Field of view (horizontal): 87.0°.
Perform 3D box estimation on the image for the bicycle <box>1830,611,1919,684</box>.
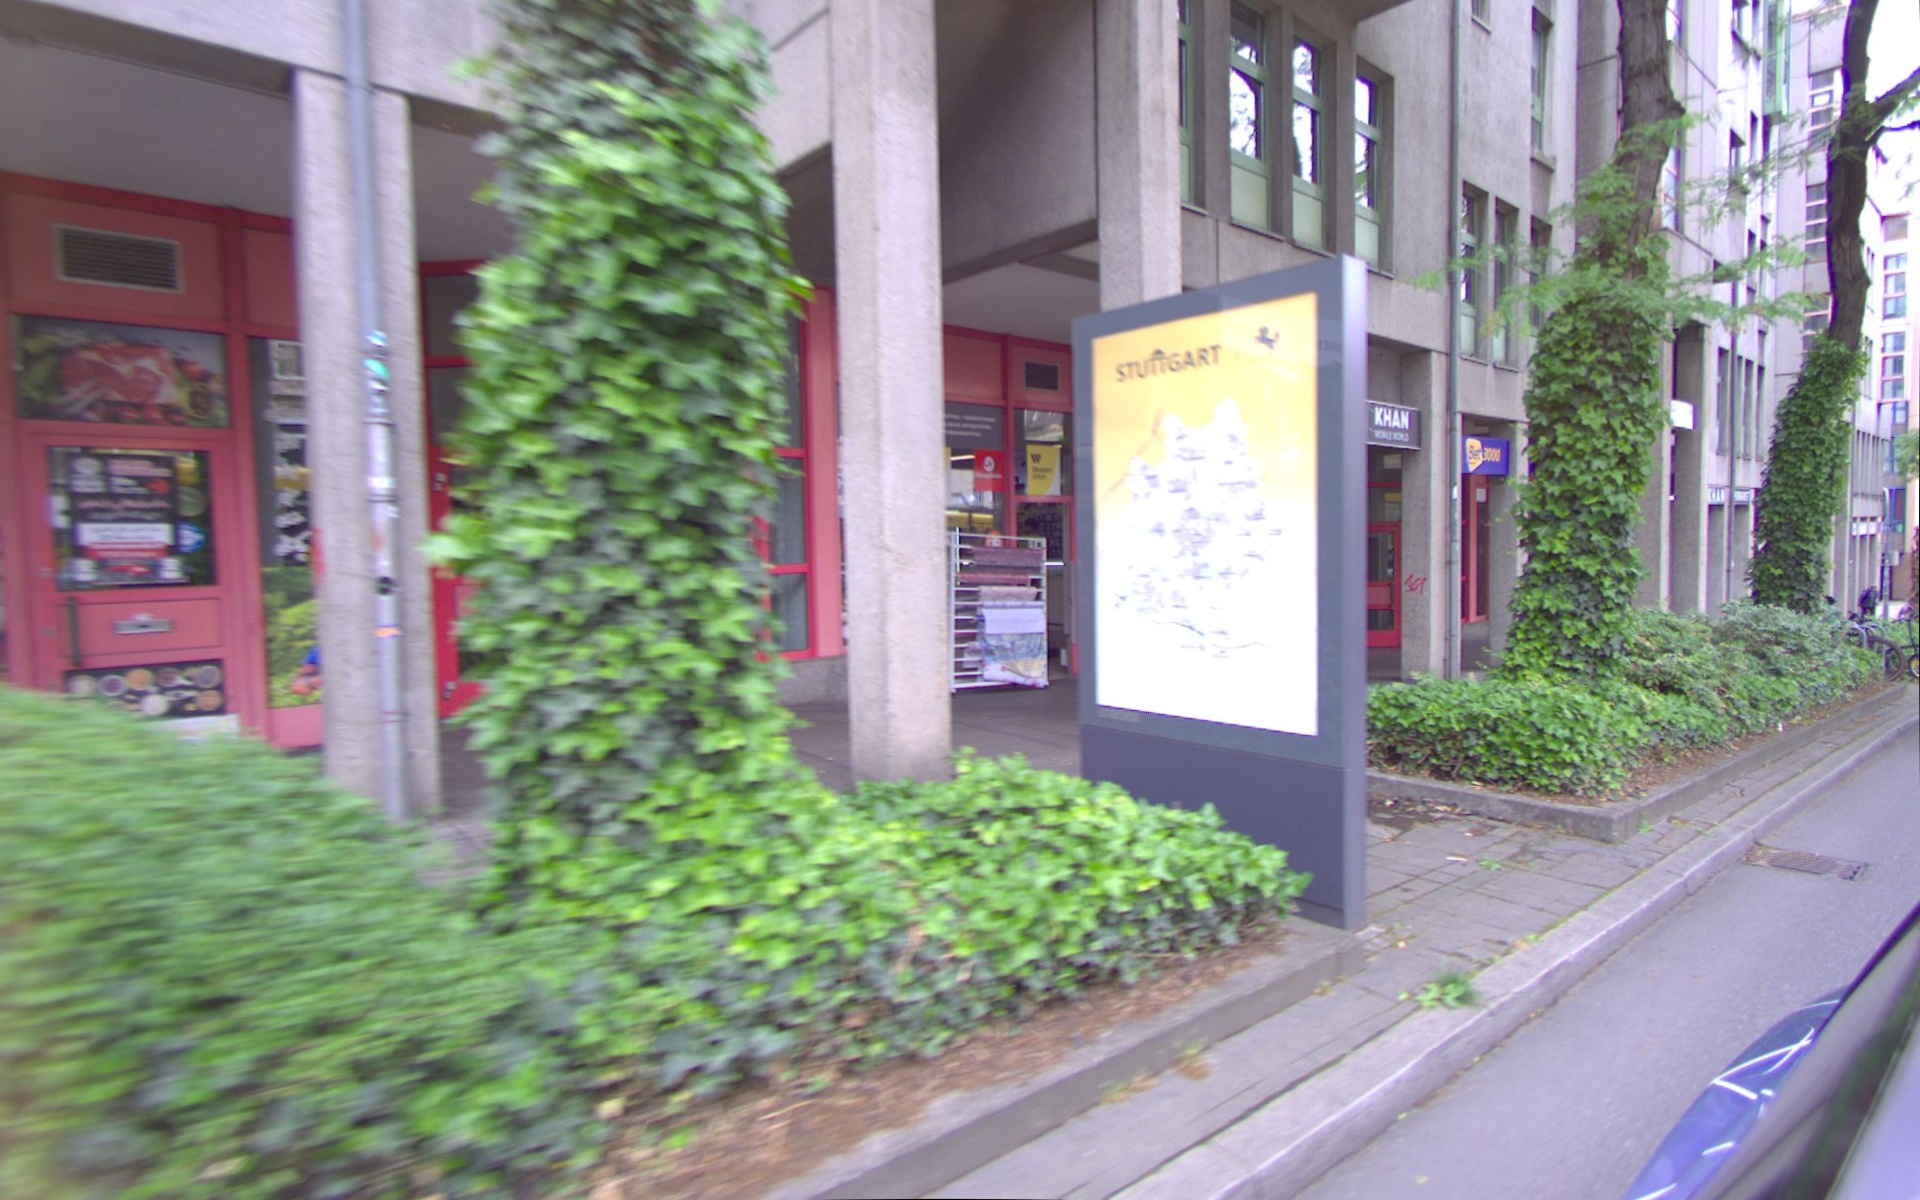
[{"bbox_3d":[14.723,0.719,15.507,2.085,1.099,0.702,-1,-1,42],"label":"bicycle"}]
